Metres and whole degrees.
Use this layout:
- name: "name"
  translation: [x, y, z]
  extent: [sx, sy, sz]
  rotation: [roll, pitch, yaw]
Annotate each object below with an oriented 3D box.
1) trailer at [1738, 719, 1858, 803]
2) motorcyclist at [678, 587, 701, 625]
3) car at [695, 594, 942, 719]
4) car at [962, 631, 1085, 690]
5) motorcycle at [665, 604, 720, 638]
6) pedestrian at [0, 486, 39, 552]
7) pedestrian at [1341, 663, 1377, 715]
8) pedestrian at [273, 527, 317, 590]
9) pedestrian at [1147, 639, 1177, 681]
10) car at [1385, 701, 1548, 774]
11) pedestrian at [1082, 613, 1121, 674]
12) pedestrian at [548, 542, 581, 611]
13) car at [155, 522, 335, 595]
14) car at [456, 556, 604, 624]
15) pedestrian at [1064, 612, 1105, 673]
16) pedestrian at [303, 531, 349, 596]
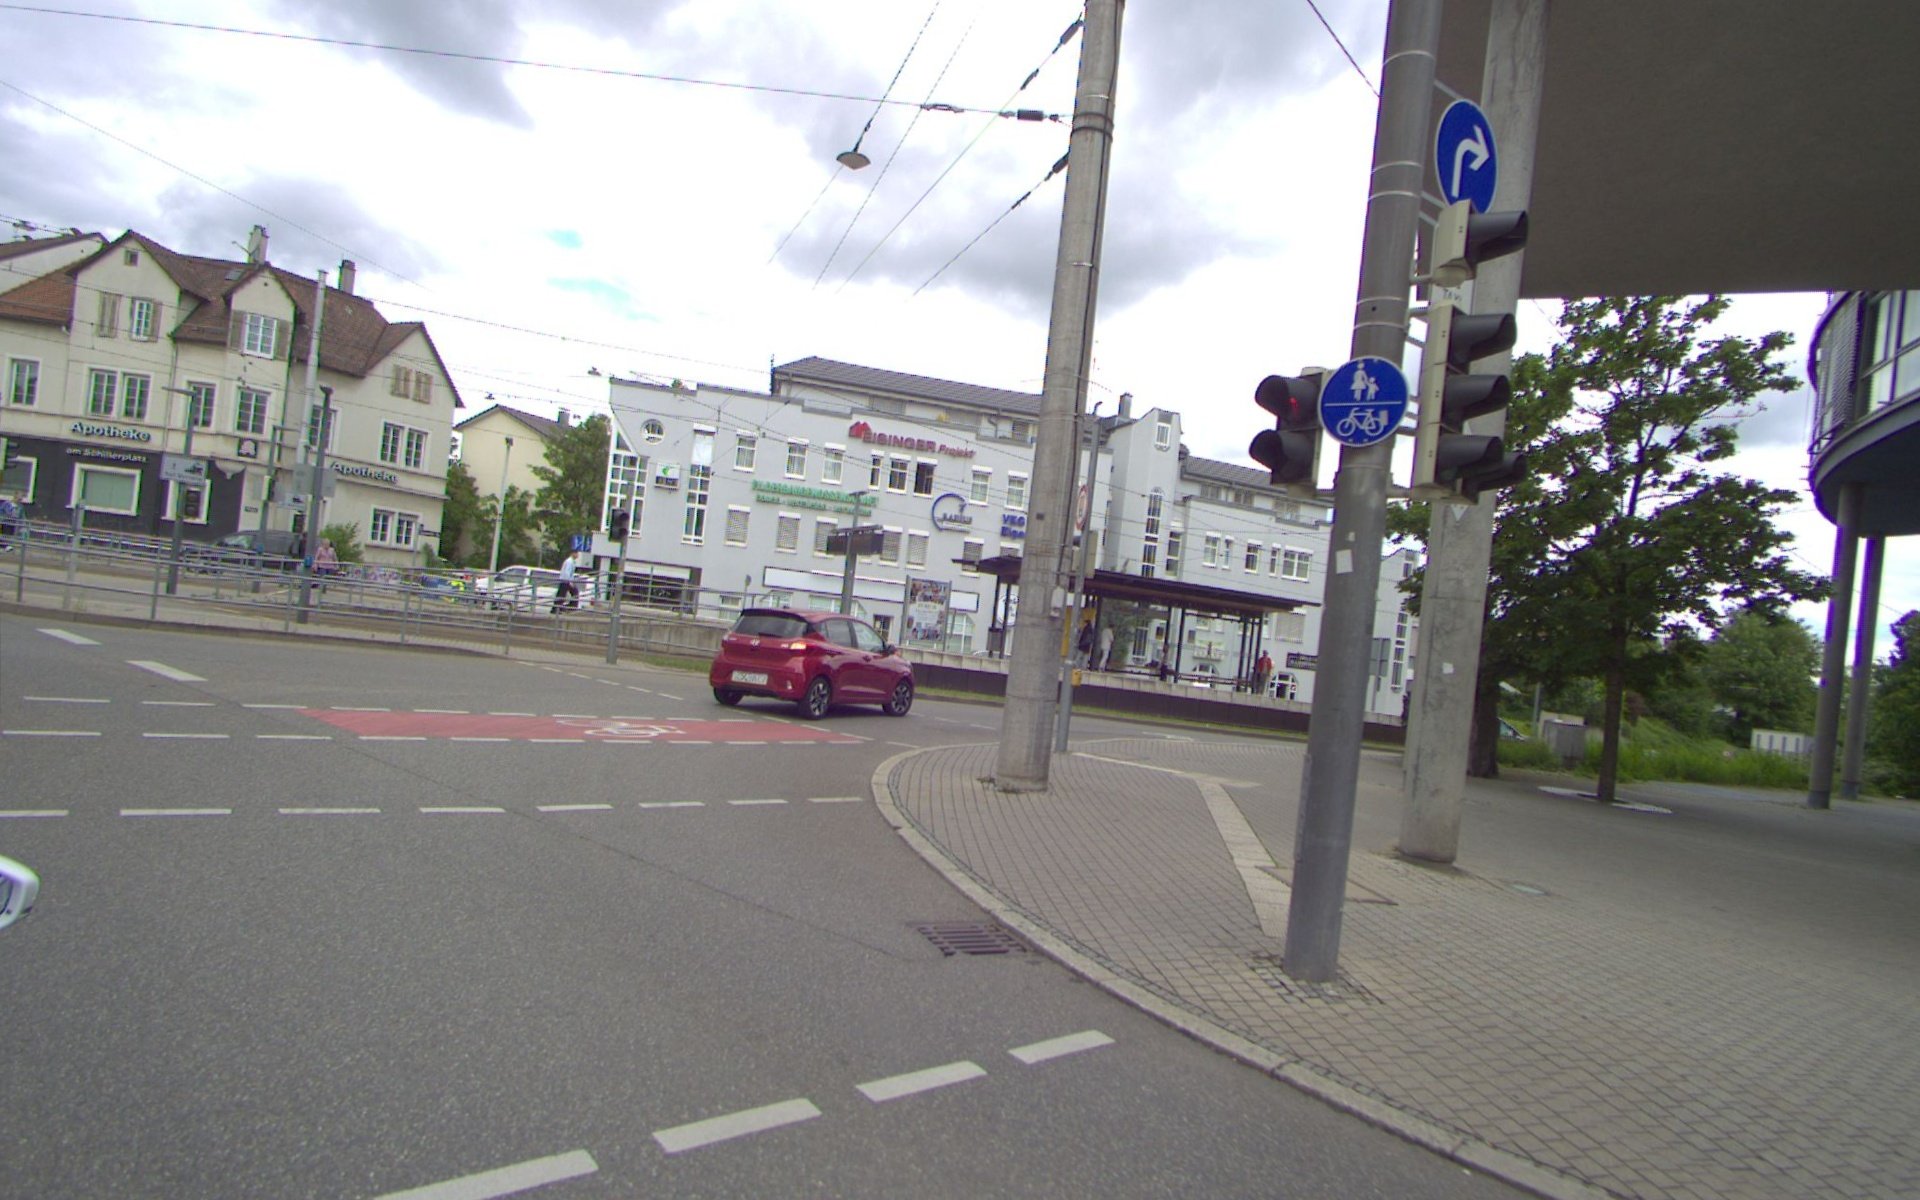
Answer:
- name: "trailer"
  translation: [31.503, 6.062, 37.816]
  extent: [4.275, 2.643, 1.871]
  rotation: [8, -2, -29]
- name: "motorcyclist"
  translation: [-10.624, 0.255, 39.538]
  extent: [0.682, 1.410, 0.762]
  rotation: [7, -2, -14]
- name: "car"
  translation: [-1.971, 0.915, 15.311]
  extent: [1.673, 1.469, 4.000]
  rotation: [7, -2, 25]
- name: "car"
  translation: [2.708, 2.573, 43.171]
  extent: [4.709, 1.941, 1.986]
  rotation: [8, -2, -14]
- name: "motorcycle"
  translation: [-10.521, 0.837, 39.571]
  extent: [1.949, 1.086, 0.762]
  rotation: [7, -2, -14]
- name: "pedestrian"
  translation: [-26.969, -2.307, 28.572]
  extent: [0.714, 1.739, 0.843]
  rotation: [7, 0, 22]
- name: "pedestrian"
  translation: [14.404, 3.206, 36.348]
  extent: [0.685, 1.738, 0.781]
  rotation: [9, -1, -37]
- name: "pedestrian"
  translation: [-19.617, -1.210, 29.691]
  extent: [0.638, 1.739, 0.704]
  rotation: [7, 0, 23]
- name: "pedestrian"
  translation: [6.661, 1.972, 33.199]
  extent: [0.582, 1.279, 0.567]
  rotation: [8, -1, -23]
- name: "car"
  translation: [13.529, 3.682, 26.871]
  extent: [3.951, 1.428, 1.729]
  rotation: [8, 0, -25]
- name: "pedestrian"
  translation: [4.490, 1.367, 31.820]
  extent: [0.777, 1.795, 0.688]
  rotation: [7, -1, 35]
- name: "pedestrian"
  translation: [-10.570, -0.631, 26.863]
  extent: [0.641, 1.739, 0.701]
  rotation: [6, 0, -23]
- name: "car"
  translation: [-24.830, -1.390, 35.163]
  extent: [4.632, 1.841, 1.857]
  rotation: [8, -2, -21]
- name: "car"
  translation: [-16.260, -0.331, 38.309]
  extent: [4.709, 1.941, 1.986]
  rotation: [8, -2, -14]
- name: "pedestrian"
  translation: [3.818, 1.298, 30.823]
  extent: [0.781, 1.738, 0.685]
  rotation: [9, -1, -29]
- name: "pedestrian"
  translation: [-18.425, -1.055, 29.229]
  extent: [0.641, 1.738, 0.786]
  rotation: [7, -2, 43]
